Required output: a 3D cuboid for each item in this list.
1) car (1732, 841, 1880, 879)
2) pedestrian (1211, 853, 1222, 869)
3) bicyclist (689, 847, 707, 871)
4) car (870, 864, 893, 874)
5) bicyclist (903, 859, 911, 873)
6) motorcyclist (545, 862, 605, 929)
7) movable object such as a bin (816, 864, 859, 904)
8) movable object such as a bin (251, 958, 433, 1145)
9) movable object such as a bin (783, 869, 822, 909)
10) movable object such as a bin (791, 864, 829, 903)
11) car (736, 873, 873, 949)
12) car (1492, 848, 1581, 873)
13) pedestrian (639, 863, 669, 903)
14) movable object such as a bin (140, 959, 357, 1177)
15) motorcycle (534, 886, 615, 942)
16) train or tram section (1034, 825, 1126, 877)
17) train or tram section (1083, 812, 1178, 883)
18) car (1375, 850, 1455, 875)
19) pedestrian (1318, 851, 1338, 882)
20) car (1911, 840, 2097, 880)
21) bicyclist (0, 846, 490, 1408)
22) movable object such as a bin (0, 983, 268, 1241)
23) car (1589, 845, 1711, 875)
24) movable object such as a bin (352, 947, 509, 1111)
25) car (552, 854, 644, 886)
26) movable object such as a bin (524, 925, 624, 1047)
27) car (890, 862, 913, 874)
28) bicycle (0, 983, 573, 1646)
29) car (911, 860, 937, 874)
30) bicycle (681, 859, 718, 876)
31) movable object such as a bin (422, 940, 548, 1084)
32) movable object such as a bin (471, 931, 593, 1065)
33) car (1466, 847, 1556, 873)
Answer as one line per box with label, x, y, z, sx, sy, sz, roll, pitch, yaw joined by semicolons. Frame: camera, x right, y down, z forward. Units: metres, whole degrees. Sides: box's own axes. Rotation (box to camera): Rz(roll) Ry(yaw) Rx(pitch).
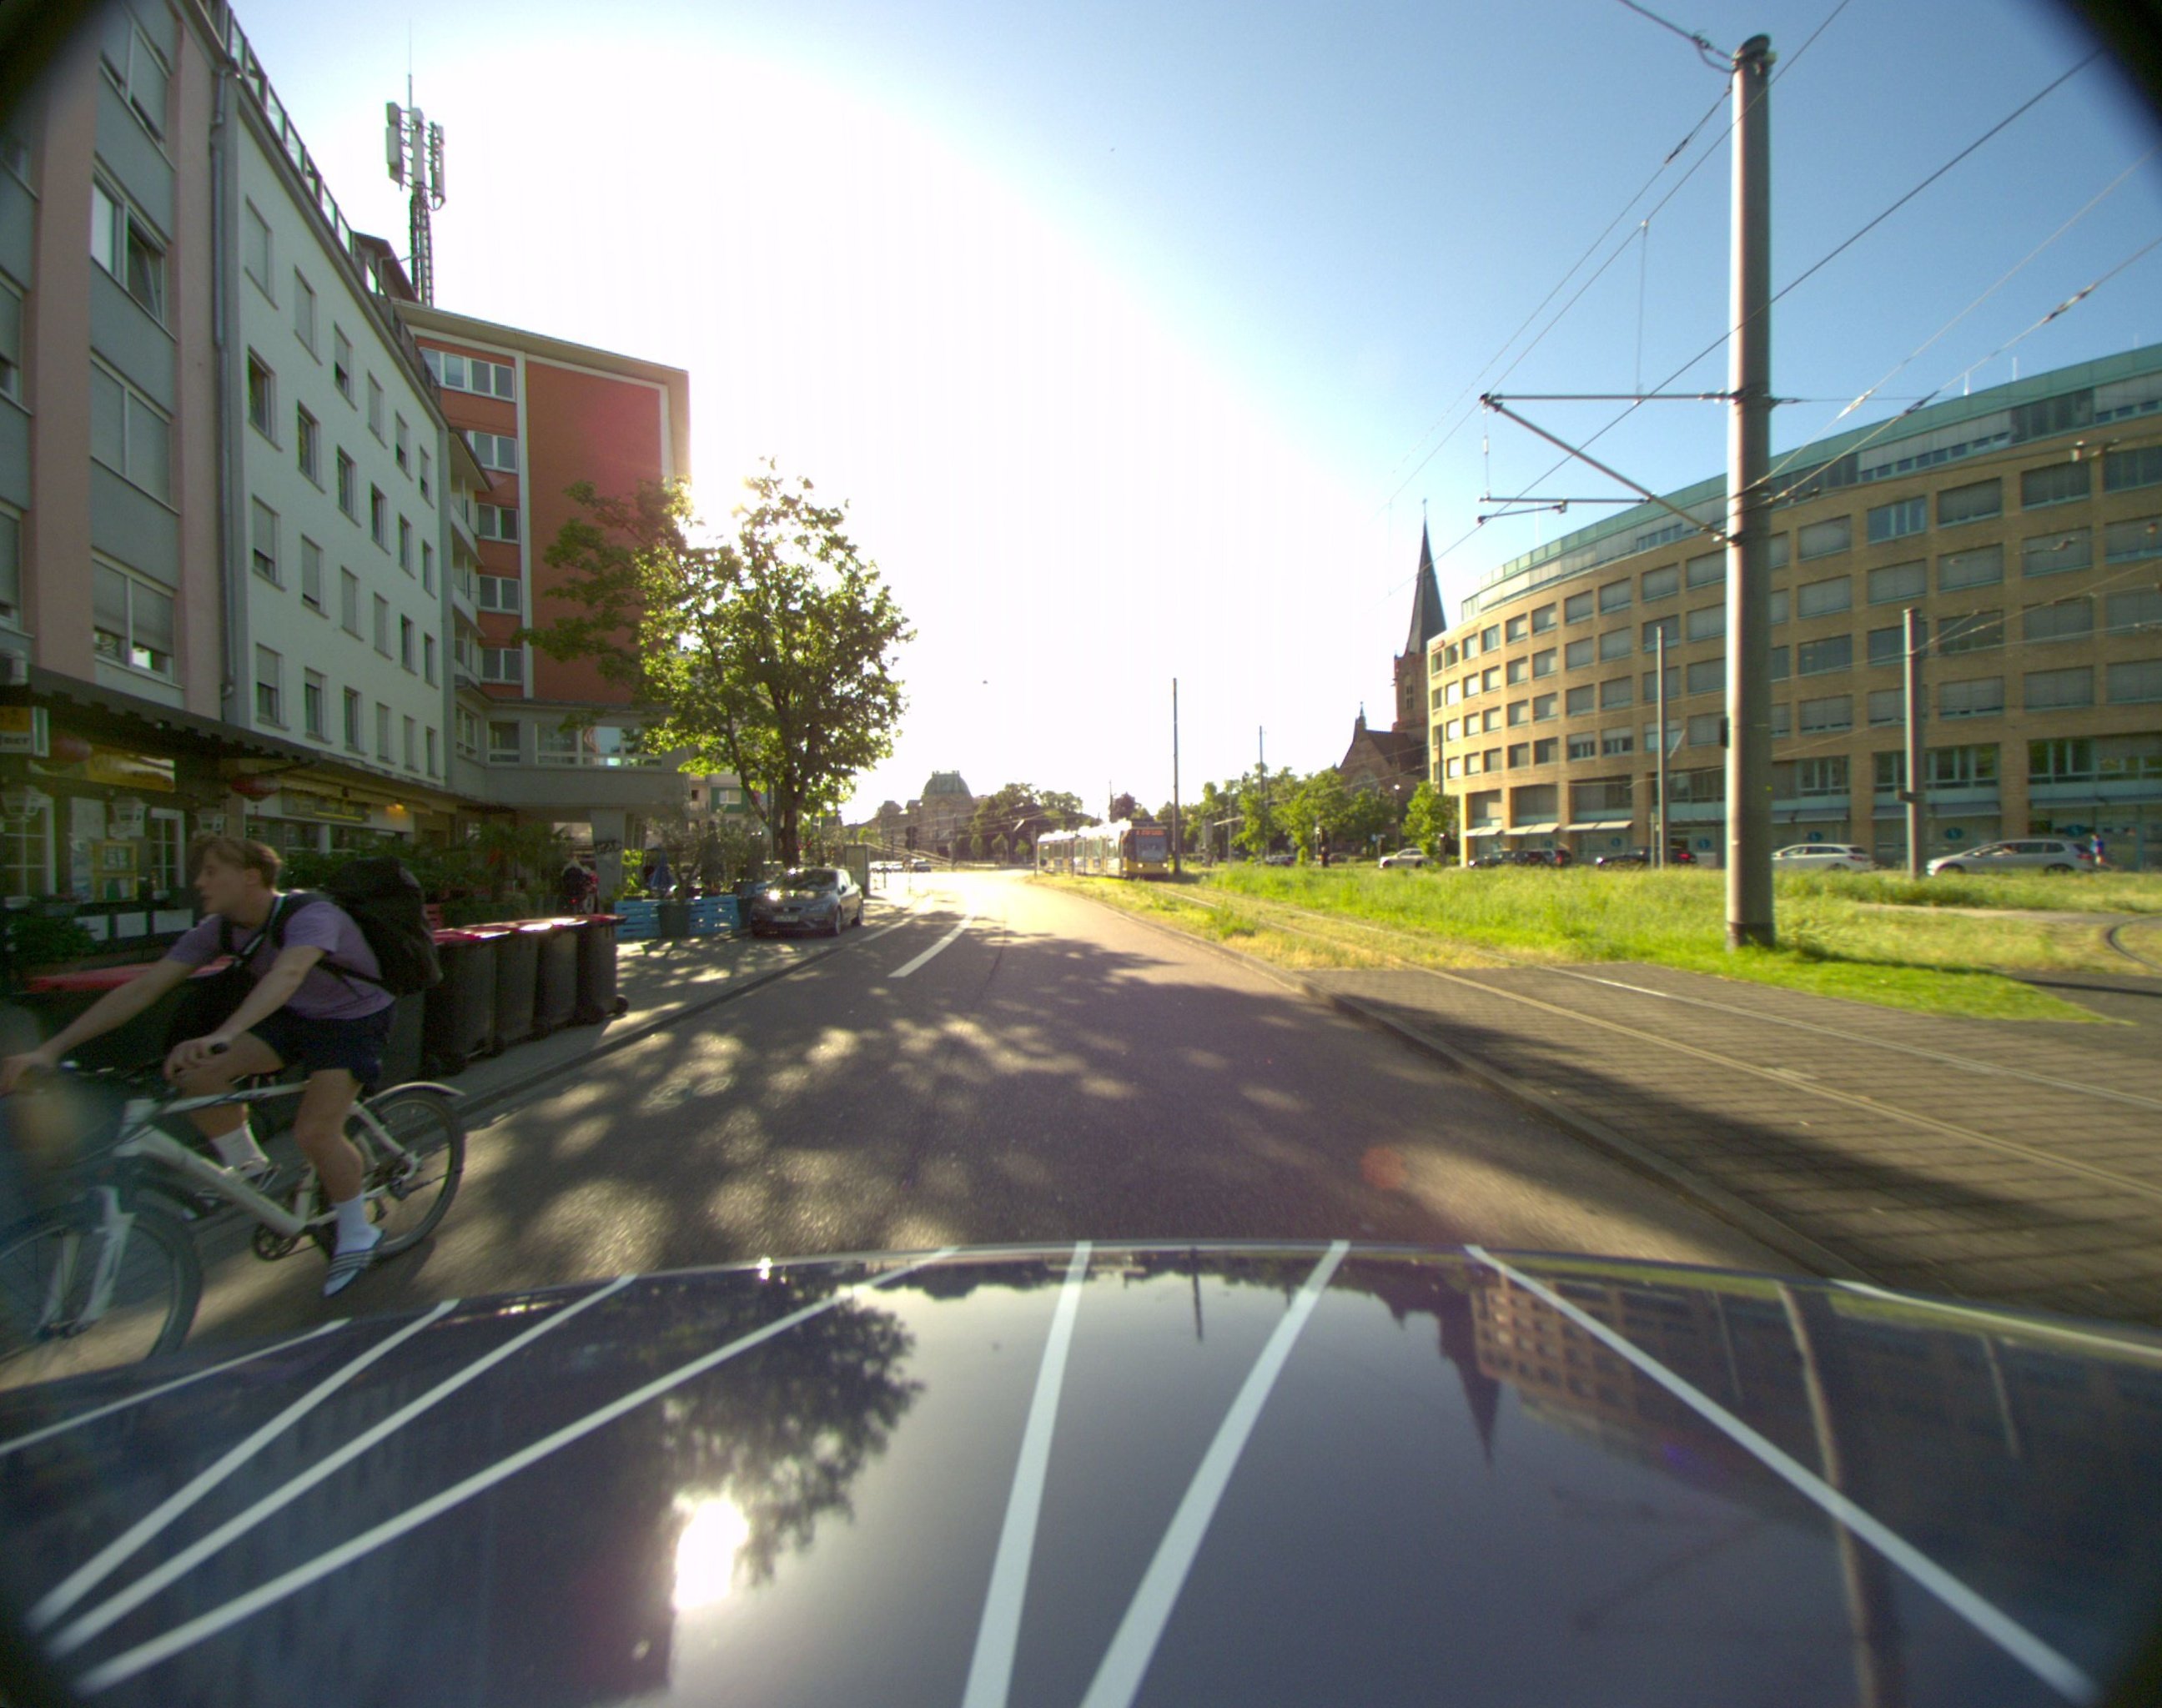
car;34.157;0.277;35.953;2.002;1.587;4.646;-3;1;-28
pedestrian;16.815;0.858;94.353;0.880;2.002;0.923;-3;2;-25
bicyclist;-25.673;0.337;50.901;0.937;1.551;0.939;-3;2;-28
car;-25.497;1.919;96.984;1.991;1.284;4.384;-2;0;-27
bicyclist;-21.891;1.513;95.752;0.705;1.720;0.852;-4;2;-32
motorcyclist;-12.252;0.983;18.429;0.900;1.542;0.805;-3;1;-12
movable object such as a bin;-8.974;1.085;28.059;1.284;1.383;0.921;-3;1;-8
movable object such as a bin;-4.888;1.284;5.067;0.606;1.063;0.545;-3;1;-6
movable object such as a bin;-10.187;1.252;27.794;1.177;1.348;0.926;-3;2;-25
movable object such as a bin;-11.804;1.271;33.106;1.387;1.630;1.006;-2;1;-27
car;-6.162;1.188;17.514;1.770;1.429;4.582;-1;0;-4
car;33.114;0.447;55.454;2.127;1.659;5.200;-3;1;-27
pedestrian;-20.238;1.351;35.999;0.828;1.834;0.891;-3;1;-4
movable object such as a bin;-4.884;1.226;4.497;0.612;1.099;0.525;-3;1;-6
motorcycle;-12.250;1.413;18.469;0.778;1.119;2.295;-3;1;-11
train or tram section;-0.439;-0.122;60.089;2.961;3.591;13.614;-2;0;-18
train or tram section;2.642;-0.290;46.639;2.959;3.663;13.174;-2;0;-9
car;24.203;0.629;55.293;2.109;1.724;5.075;-2;0;-28
pedestrian;13.396;0.662;41.194;0.736;1.661;0.744;-2;0;-9
car;36.937;0.242;30.537;2.003;1.419;4.500;-3;1;-31
bicyclist;-2.907;0.739;2.511;1.040;1.475;0.988;-3;1;0
movable object such as a bin;-4.839;1.273;3.906;0.594;1.077;0.604;-3;1;-5
car;31.188;0.313;41.861;2.002;1.439;5.009;-3;1;-24
movable object such as a bin;-4.886;1.289;5.749;0.608;1.063;0.613;-3;1;-6
car;-35.216;1.171;55.567;5.260;2.186;2.373;-1;0;-22
movable object such as a bin;-5.027;1.292;7.568;0.575;1.076;0.570;-3;1;-5
car;-23.880;1.792;100.770;2.002;1.421;4.123;-3;1;-26
bicycle;-2.884;1.211;2.482;0.888;1.129;2.228;-3;1;0
car;-18.946;1.519;91.612;2.002;1.528;4.347;-3;1;-26
bicycle;-25.561;0.873;50.960;2.151;0.995;0.859;-3;1;-28
movable object such as a bin;-4.947;1.291;6.334;0.593;1.063;0.495;-3;1;-6
movable object such as a bin;-4.974;1.282;6.918;0.621;1.063;0.610;-3;1;-6
car;27.413;0.371;48.639;2.002;1.508;4.652;-3;1;-28
